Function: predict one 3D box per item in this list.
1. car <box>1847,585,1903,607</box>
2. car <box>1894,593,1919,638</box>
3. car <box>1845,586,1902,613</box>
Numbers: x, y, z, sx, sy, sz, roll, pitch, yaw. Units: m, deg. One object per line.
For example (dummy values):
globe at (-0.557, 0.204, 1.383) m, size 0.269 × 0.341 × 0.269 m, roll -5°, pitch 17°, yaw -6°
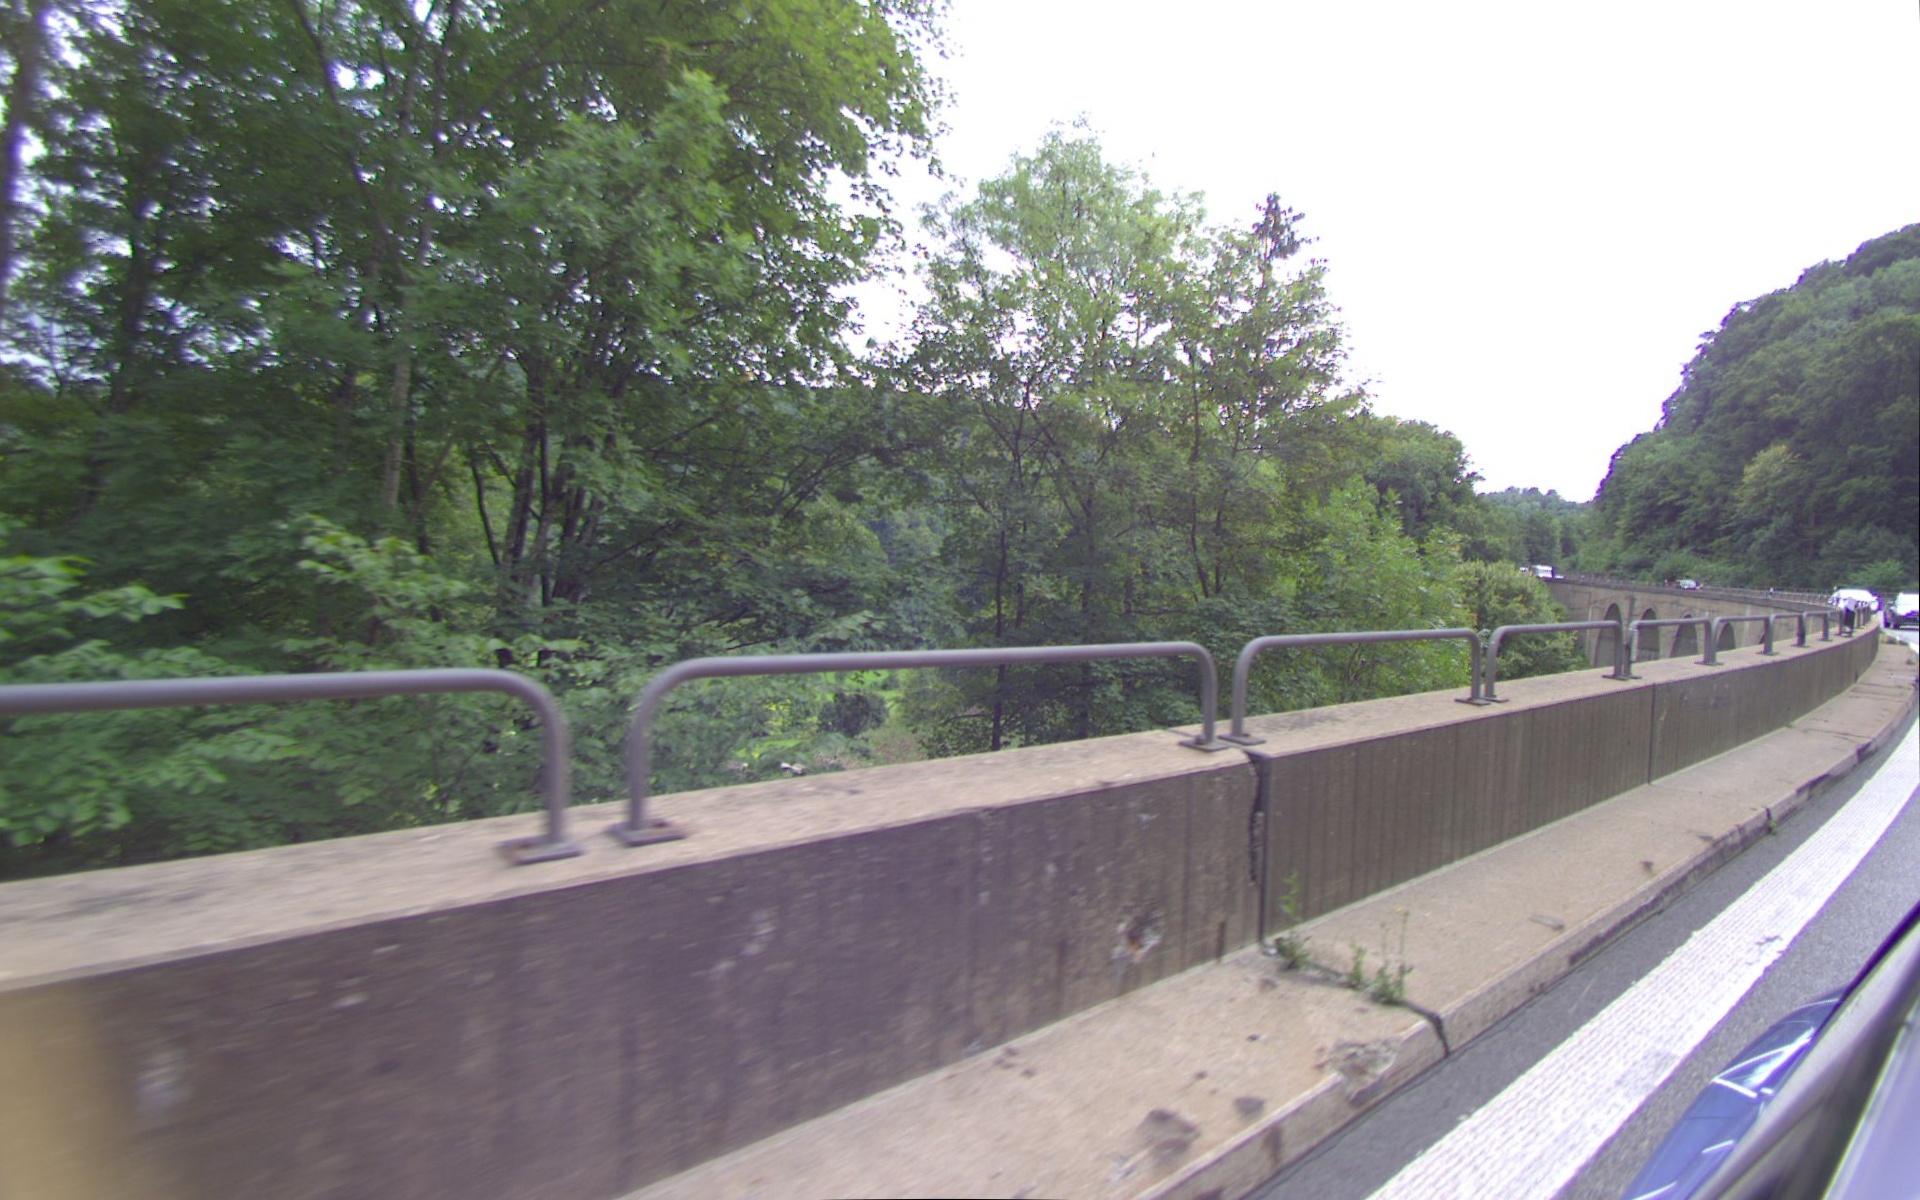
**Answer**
car at (60.551, -0.287, 67.040) m, size 1.873 × 1.335 × 3.959 m, roll 1°, pitch 2°, yaw 29°
car at (40.000, 0.607, 41.659) m, size 1.955 × 1.727 × 3.945 m, roll 1°, pitch 2°, yaw 38°
car at (49.260, -0.060, 54.633) m, size 1.878 × 1.335 × 3.948 m, roll 1°, pitch 2°, yaw 36°
